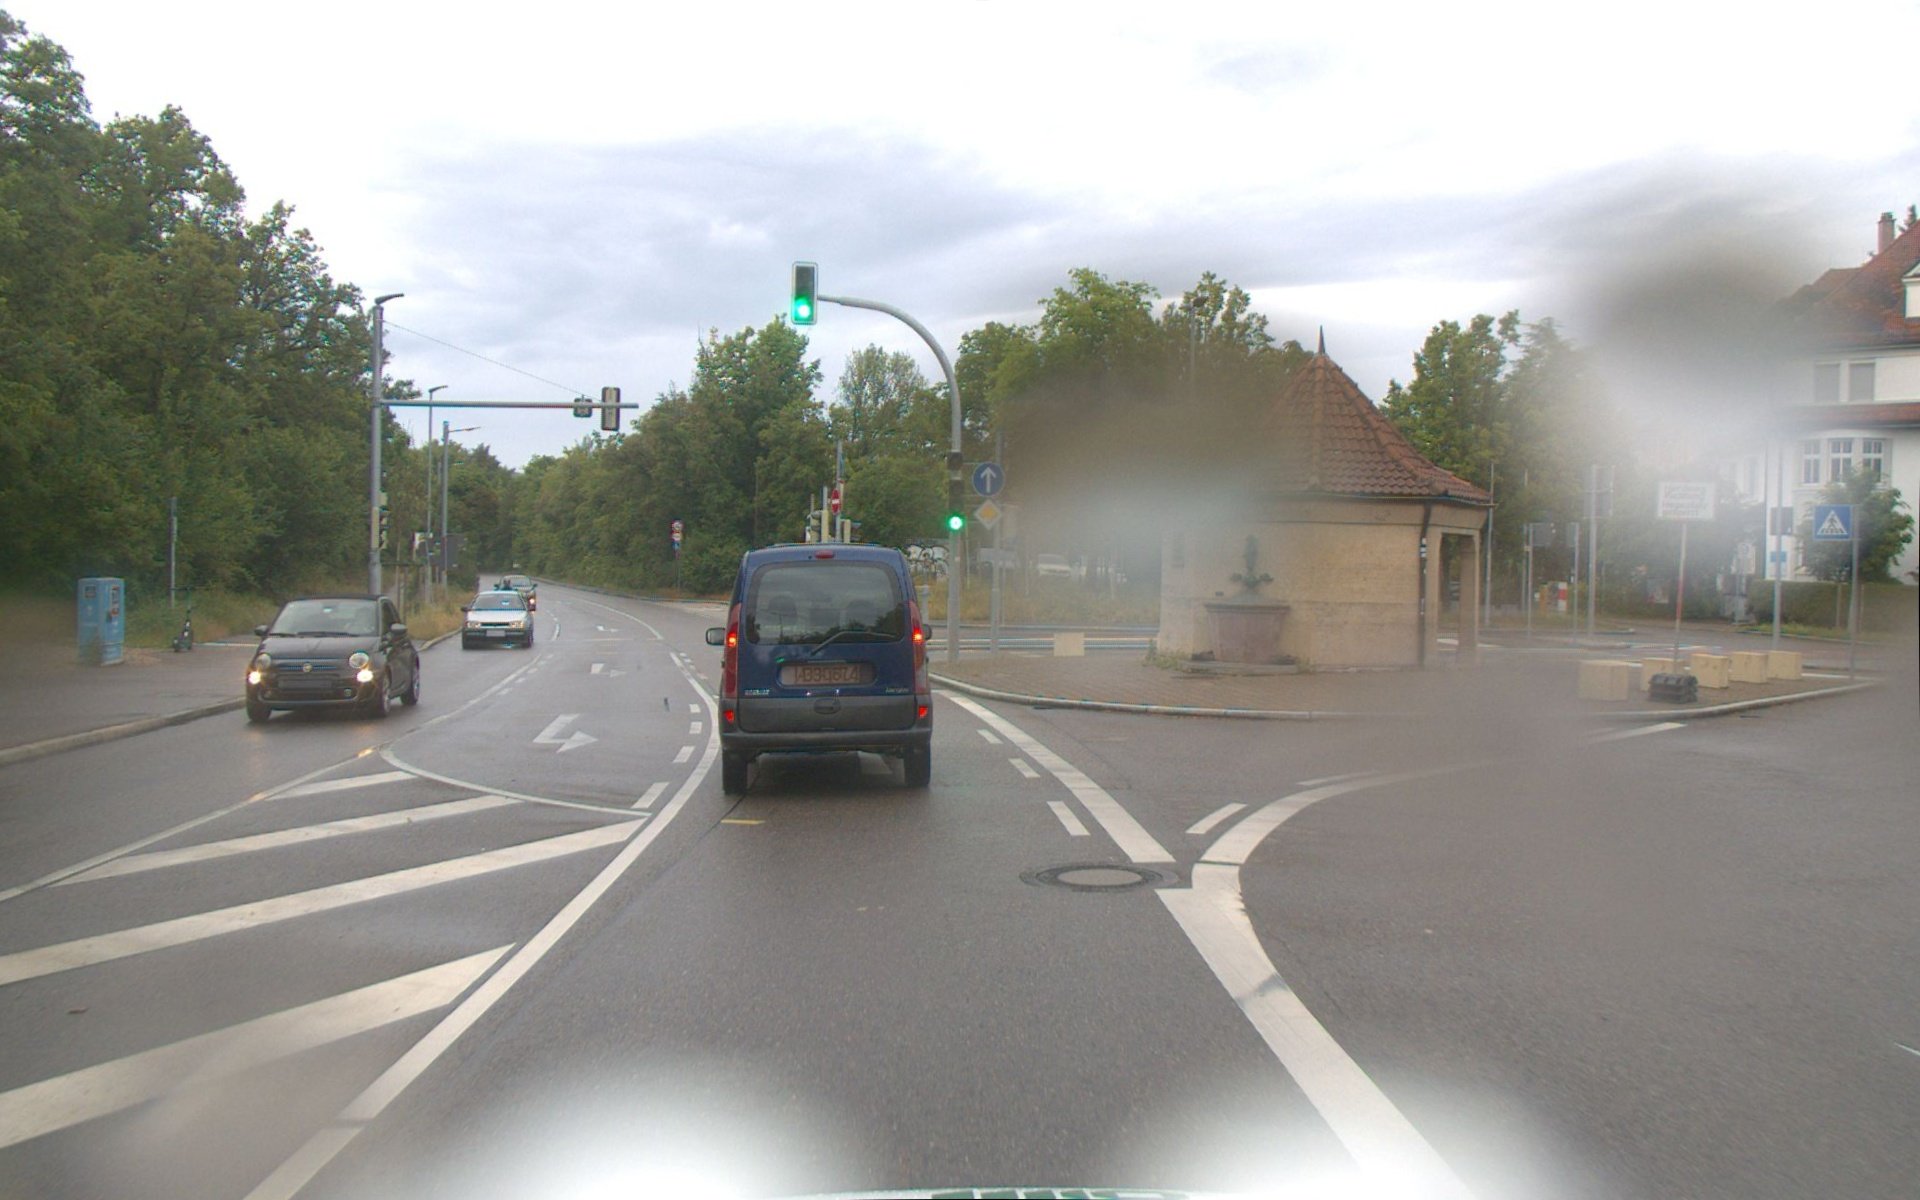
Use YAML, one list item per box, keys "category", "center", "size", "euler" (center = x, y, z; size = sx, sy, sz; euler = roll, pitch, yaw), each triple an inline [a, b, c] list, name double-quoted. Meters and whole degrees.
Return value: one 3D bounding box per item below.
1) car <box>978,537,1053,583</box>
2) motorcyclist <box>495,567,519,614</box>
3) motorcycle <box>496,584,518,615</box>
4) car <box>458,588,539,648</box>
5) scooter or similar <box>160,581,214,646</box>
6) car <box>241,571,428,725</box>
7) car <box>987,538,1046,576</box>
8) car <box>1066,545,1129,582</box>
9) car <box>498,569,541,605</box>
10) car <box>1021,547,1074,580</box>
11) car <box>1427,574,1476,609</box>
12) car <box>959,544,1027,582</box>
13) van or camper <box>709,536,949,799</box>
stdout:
- category: "car"
  center: [2.192, -1.638, 66.919]
  size: [1.960, 1.690, 3.986]
  euler: [3, 1, -14]
- category: "motorcyclist"
  center: [-16.020, -0.349, 58.504]
  size: [0.732, 1.660, 0.925]
  euler: [-1, 1, -11]
- category: "motorcycle"
  center: [-16.040, -0.033, 58.571]
  size: [0.583, 1.069, 1.994]
  euler: [-1, 1, -11]
- category: "car"
  center: [-11.934, 0.434, 42.995]
  size: [1.710, 1.375, 4.197]
  euler: [-1, 1, -12]
- category: "scooter or similar"
  center: [-15.280, 0.257, 32.709]
  size: [0.507, 1.233, 1.467]
  euler: [1, 1, -7]
- category: "car"
  center: [-7.867, 0.522, 21.114]
  size: [1.548, 1.761, 3.765]
  euler: [-1, 1, -10]
- category: "car"
  center: [2.733, -2.115, 80.833]
  size: [1.957, 1.690, 4.463]
  euler: [3, 1, -10]
- category: "car"
  center: [6.074, -1.600, 73.498]
  size: [1.850, 1.505, 4.061]
  euler: [2, 0, -9]
- category: "car"
  center: [-20.648, -0.625, 77.691]
  size: [1.758, 1.608, 4.547]
  euler: [-1, 1, -13]
- category: "car"
  center: [4.399, -1.847, 83.961]
  size: [1.850, 1.505, 4.060]
  euler: [3, 0, -9]
- category: "car"
  center: [29.667, -0.529, 100.013]
  size: [1.952, 2.049, 4.002]
  euler: [1, 1, 3]
- category: "car"
  center: [1.395, -1.587, 72.127]
  size: [1.959, 1.505, 4.270]
  euler: [2, 0, -13]
- category: "van or camper"
  center: [-1.151, 0.453, 13.778]
  size: [1.680, 1.857, 3.995]
  euler: [1, 1, -7]
